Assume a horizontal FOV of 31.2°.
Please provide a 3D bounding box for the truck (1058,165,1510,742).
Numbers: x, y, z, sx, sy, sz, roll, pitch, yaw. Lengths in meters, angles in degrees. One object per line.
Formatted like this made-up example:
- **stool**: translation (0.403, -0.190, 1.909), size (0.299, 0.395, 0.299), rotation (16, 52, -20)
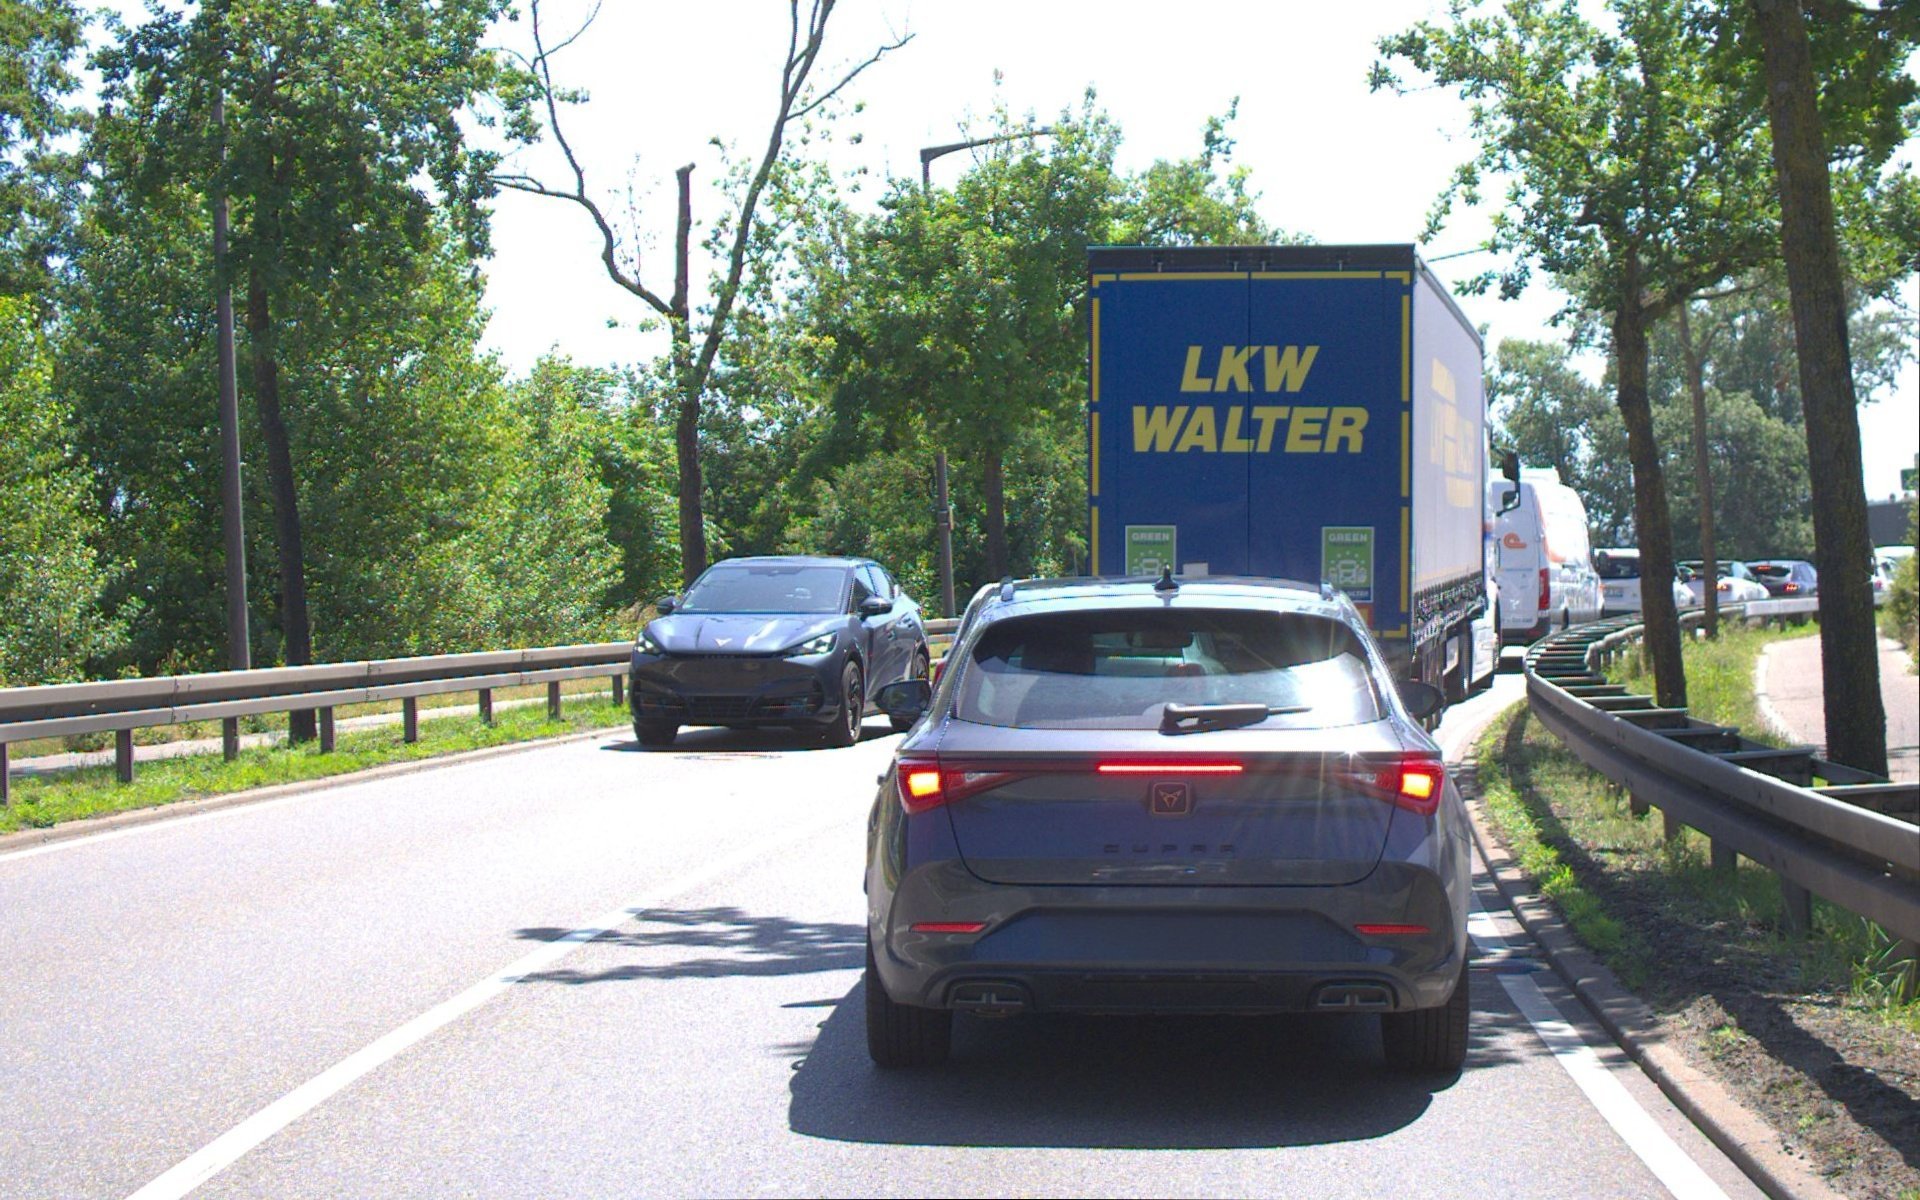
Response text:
- **truck**: translation (3.811, -1.206, 34.916), size (2.951, 4.433, 16.790), rotation (0, 1, 11)

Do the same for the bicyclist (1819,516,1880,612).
- **bicyclist**: translation (14.199, -0.574, 54.871), size (0.861, 1.518, 0.979), rotation (0, 0, 19)

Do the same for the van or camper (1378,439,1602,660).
- **van or camper**: translation (7.775, -0.716, 49.878), size (2.468, 2.988, 6.082), rotation (0, 1, 16)

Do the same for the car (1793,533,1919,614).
- **car**: translation (20.366, -0.599, 77.955), size (1.996, 1.762, 4.748), rotation (1, 1, 25)

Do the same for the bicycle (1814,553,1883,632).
- **bicycle**: translation (14.214, -0.128, 54.938), size (0.861, 1.232, 2.307), rotation (0, 1, 20)

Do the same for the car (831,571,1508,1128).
- **car**: translation (0.593, 0.628, 10.854), size (1.744, 1.427, 3.880), rotation (0, 1, 2)

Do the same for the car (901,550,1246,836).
- **car**: translation (0.764, 0.475, 20.262), size (1.809, 1.503, 3.999), rotation (0, 1, 5)

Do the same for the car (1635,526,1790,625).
- **car**: translation (14.271, -0.474, 64.982), size (1.996, 1.802, 4.840), rotation (1, 1, 23)

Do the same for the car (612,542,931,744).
- **car**: translation (-1.561, 0.310, 30.150), size (1.870, 1.598, 4.391), rotation (1, 1, 9)

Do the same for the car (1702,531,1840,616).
- **car**: translation (16.946, -0.559, 71.670), size (1.996, 1.711, 4.863), rotation (1, 1, 23)

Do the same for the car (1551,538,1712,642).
- **car**: translation (11.522, -0.184, 58.759), size (1.995, 1.706, 4.615), rotation (1, 1, 20)
